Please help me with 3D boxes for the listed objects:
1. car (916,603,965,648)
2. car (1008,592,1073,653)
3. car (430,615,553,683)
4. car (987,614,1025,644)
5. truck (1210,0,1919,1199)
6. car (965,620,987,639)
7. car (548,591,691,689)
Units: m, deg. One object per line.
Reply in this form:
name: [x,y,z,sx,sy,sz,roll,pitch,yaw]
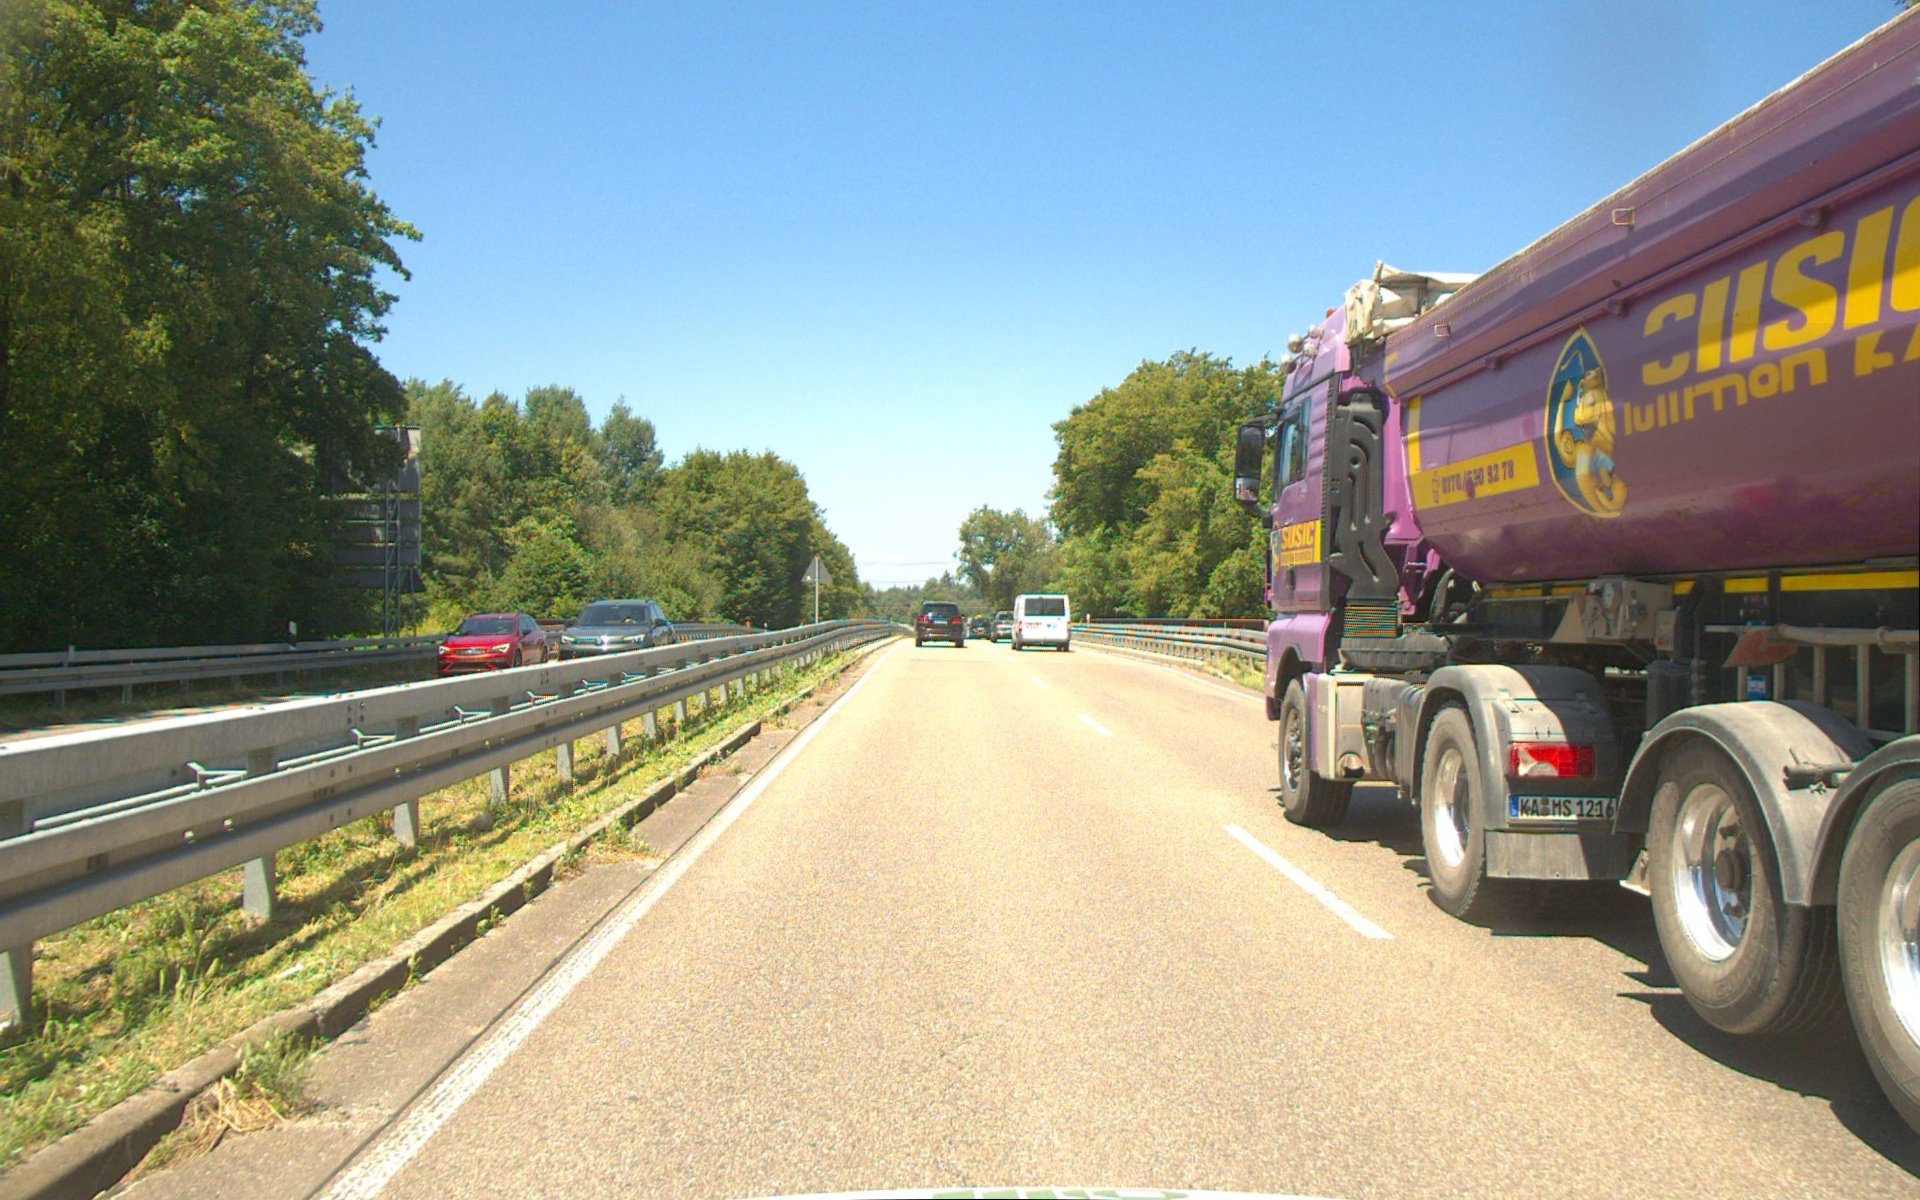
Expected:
car: [-0.788,1.036,65.418,1.820,1.701,3.998,1,-2,-2]
car: [2.890,0.795,60.302,1.954,2.113,3.998,-1,0,-3]
car: [-10.706,1.087,38.055,1.761,1.415,3.999,-1,0,-2]
car: [2.238,1.417,81.653,1.571,1.445,3.520,-1,0,-3]
truck: [3.637,-0.354,7.826,2.665,3.999,12.365,1,0,-2]
car: [1.264,2.353,133.892,1.571,1.445,3.520,-1,0,-3]
car: [-6.914,0.773,34.107,1.953,1.825,4.747,-1,0,0]
